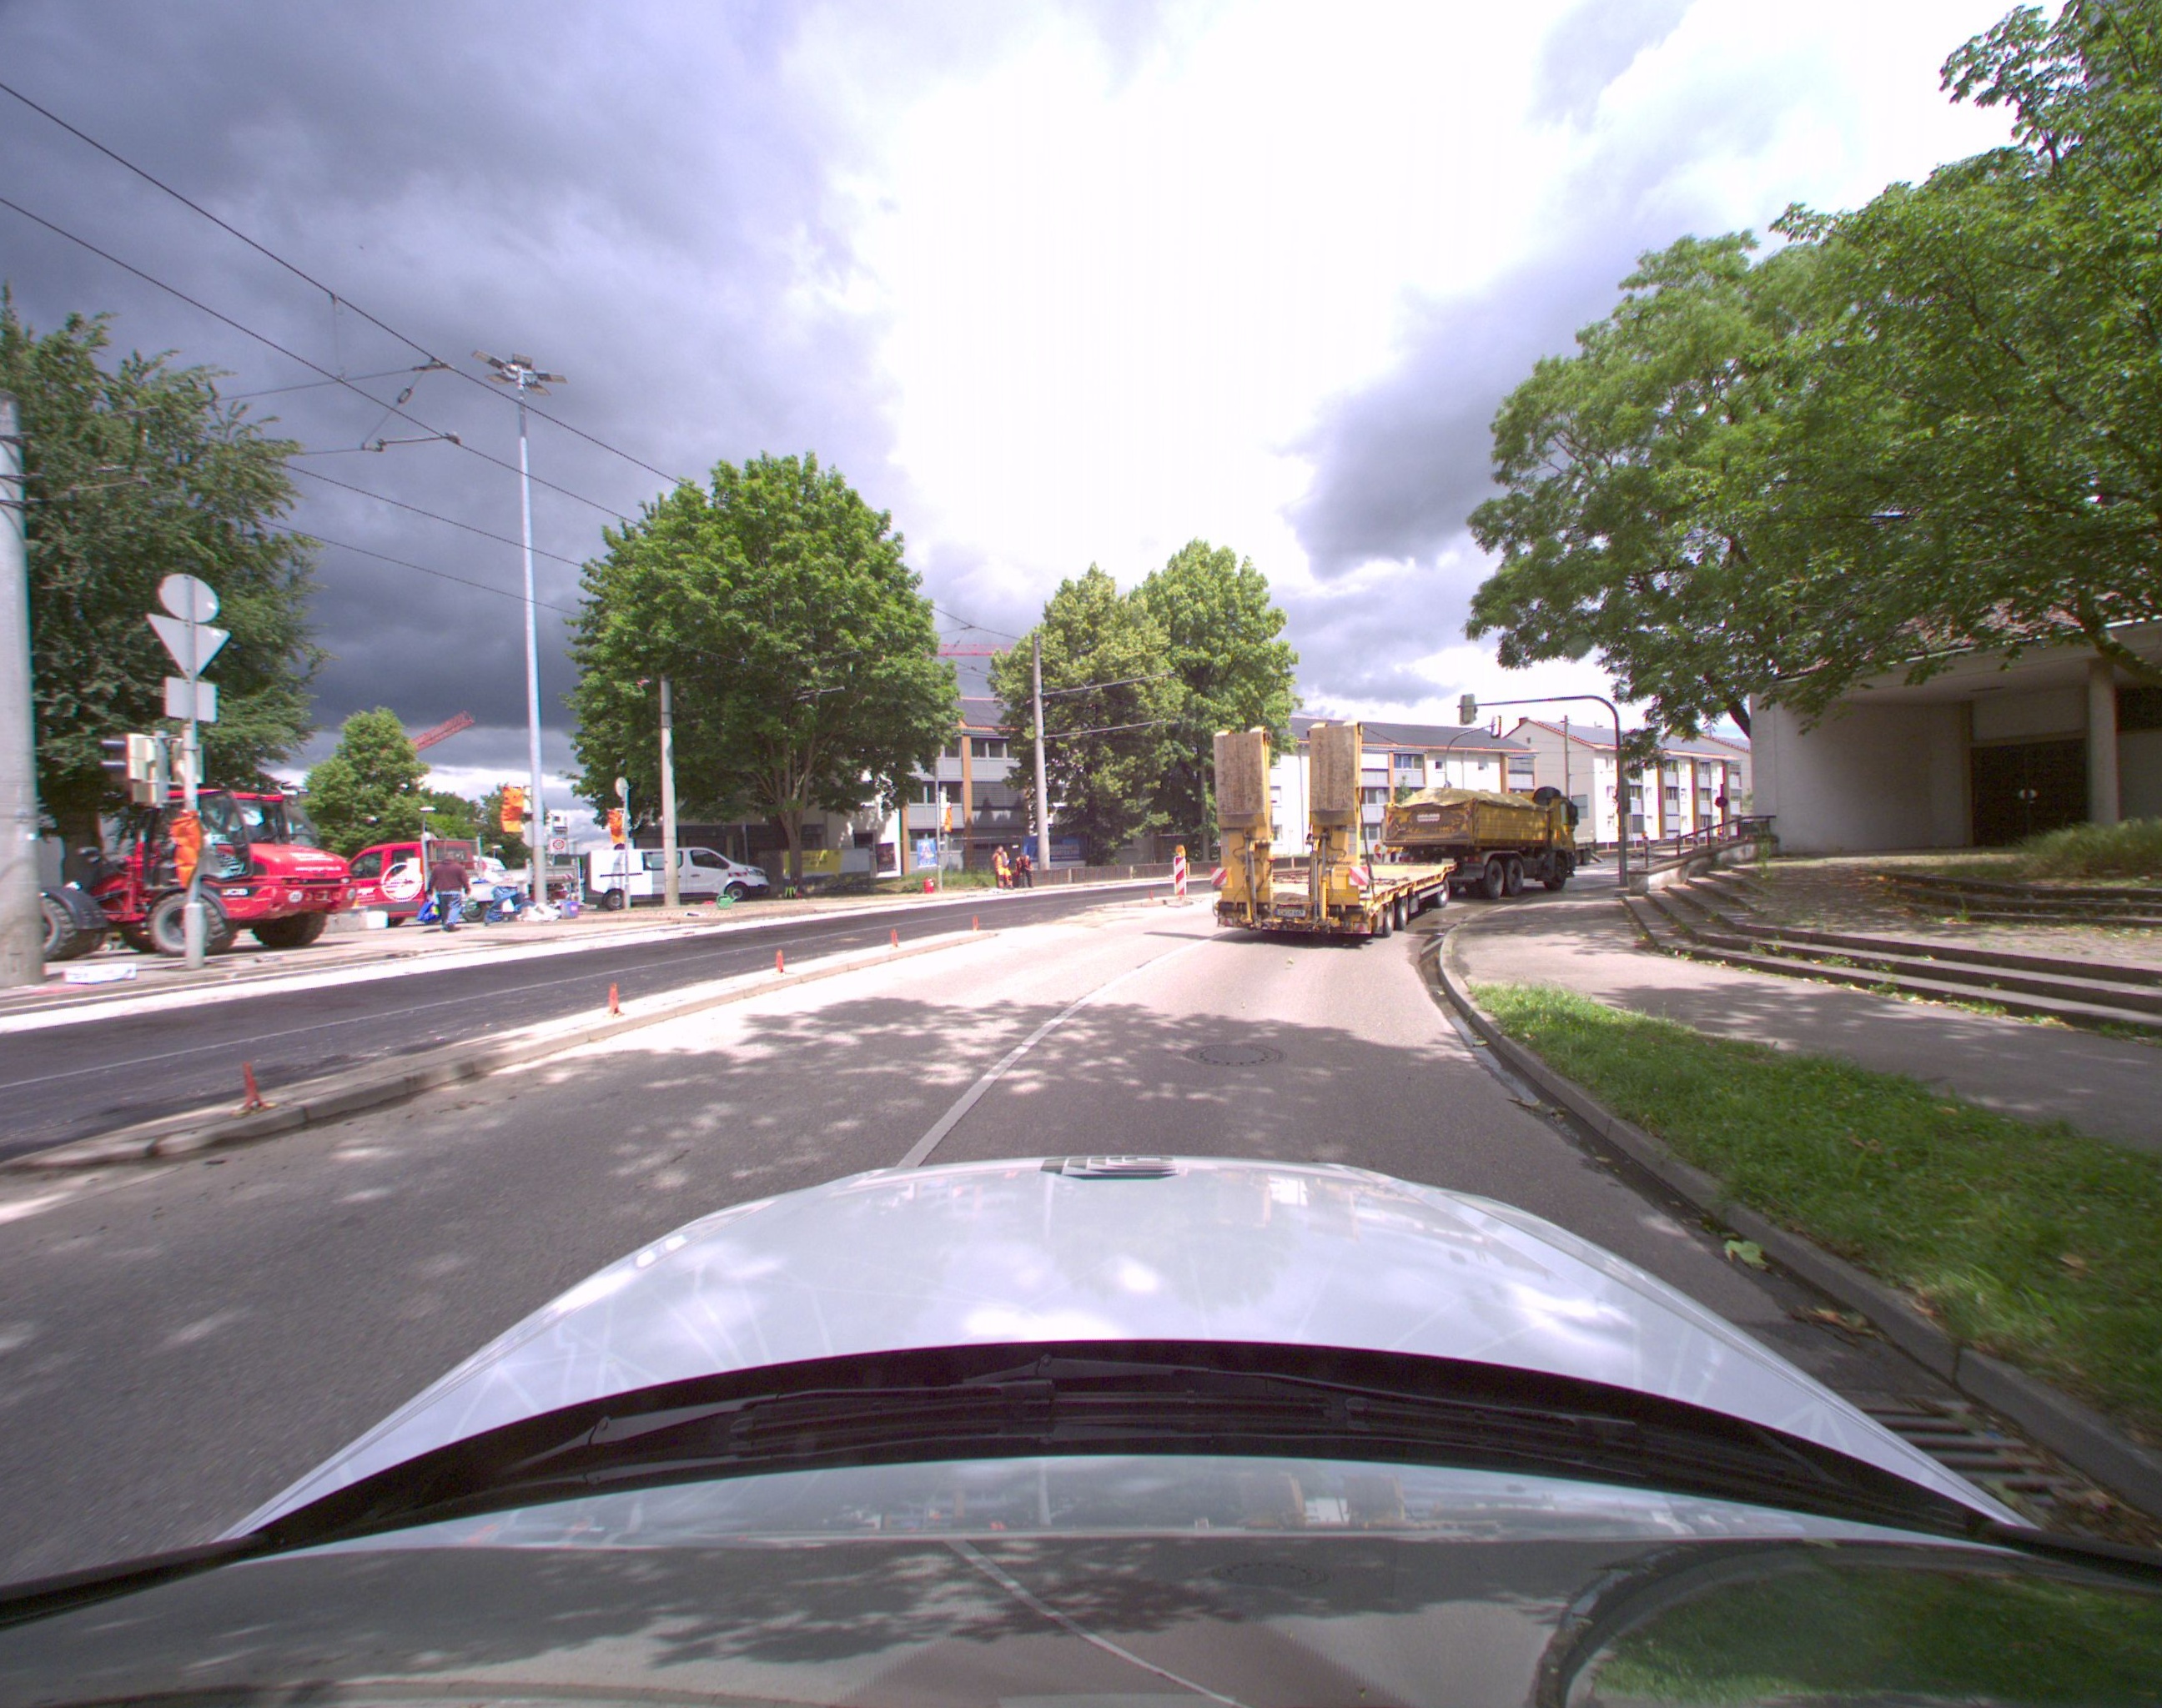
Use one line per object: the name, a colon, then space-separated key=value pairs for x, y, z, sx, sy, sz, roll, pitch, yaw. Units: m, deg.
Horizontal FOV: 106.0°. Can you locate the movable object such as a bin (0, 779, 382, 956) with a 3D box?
movable object such as a bin: x=-15.448 y=0.223 z=13.639 sx=5.552 sy=2.669 sz=2.115 roll=-1 pitch=-1 yaw=-1

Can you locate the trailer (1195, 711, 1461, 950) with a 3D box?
trailer: x=5.962 y=-0.435 z=17.516 sx=2.796 sy=3.523 sz=11.121 roll=1 pitch=1 yaw=31

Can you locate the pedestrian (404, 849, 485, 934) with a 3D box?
pedestrian: x=-13.071 y=0.750 z=16.748 sx=0.923 sy=1.659 sz=0.874 roll=-2 pitch=0 yaw=-1

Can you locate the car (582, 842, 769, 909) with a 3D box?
car: x=-13.056 y=0.674 z=26.642 sx=5.253 sy=1.887 sz=1.986 roll=-2 pitch=-2 yaw=-21

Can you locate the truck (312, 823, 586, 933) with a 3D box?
truck: x=-17.433 y=0.629 z=22.736 sx=5.550 sy=2.568 sz=2.418 roll=-3 pitch=0 yaw=-2

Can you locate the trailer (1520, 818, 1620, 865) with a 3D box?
trailer: x=24.899 y=-0.690 z=41.311 sx=6.282 sy=2.213 sz=2.639 roll=-2 pitch=2 yaw=-42

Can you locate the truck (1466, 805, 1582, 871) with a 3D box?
truck: x=20.220 y=-0.768 z=36.980 sx=6.431 sy=2.725 sz=2.639 roll=-2 pitch=1 yaw=-42

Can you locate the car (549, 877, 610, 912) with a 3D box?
car: x=-23.335 y=1.848 z=37.986 sx=1.779 sy=1.459 sz=3.847 roll=-2 pitch=-1 yaw=-23

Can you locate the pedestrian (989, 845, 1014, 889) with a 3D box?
pedestrian: x=-2.845 y=0.467 z=29.137 sx=0.760 sy=1.541 sz=0.795 roll=-2 pitch=0 yaw=-12

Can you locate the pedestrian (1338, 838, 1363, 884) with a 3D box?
pedestrian: x=9.370 y=0.240 z=28.344 sx=0.756 sy=1.551 sz=0.905 roll=-1 pitch=1 yaw=16

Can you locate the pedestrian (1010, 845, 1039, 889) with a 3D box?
pedestrian: x=-2.049 y=0.469 z=29.533 sx=0.905 sy=1.533 sz=0.838 roll=-2 pitch=0 yaw=-12

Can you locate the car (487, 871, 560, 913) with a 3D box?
car: x=-21.964 y=1.454 z=32.200 sx=1.564 sy=1.454 sz=3.182 roll=-3 pitch=0 yaw=-19

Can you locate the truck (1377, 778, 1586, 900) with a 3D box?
truck: x=12.314 y=-0.501 z=24.639 sx=7.721 sy=3.166 sz=2.892 roll=-2 pitch=2 yaw=-41

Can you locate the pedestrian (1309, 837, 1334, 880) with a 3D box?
pedestrian: x=9.560 y=0.183 z=32.369 sx=0.697 sy=1.668 sz=0.833 roll=-1 pitch=-2 yaw=34
